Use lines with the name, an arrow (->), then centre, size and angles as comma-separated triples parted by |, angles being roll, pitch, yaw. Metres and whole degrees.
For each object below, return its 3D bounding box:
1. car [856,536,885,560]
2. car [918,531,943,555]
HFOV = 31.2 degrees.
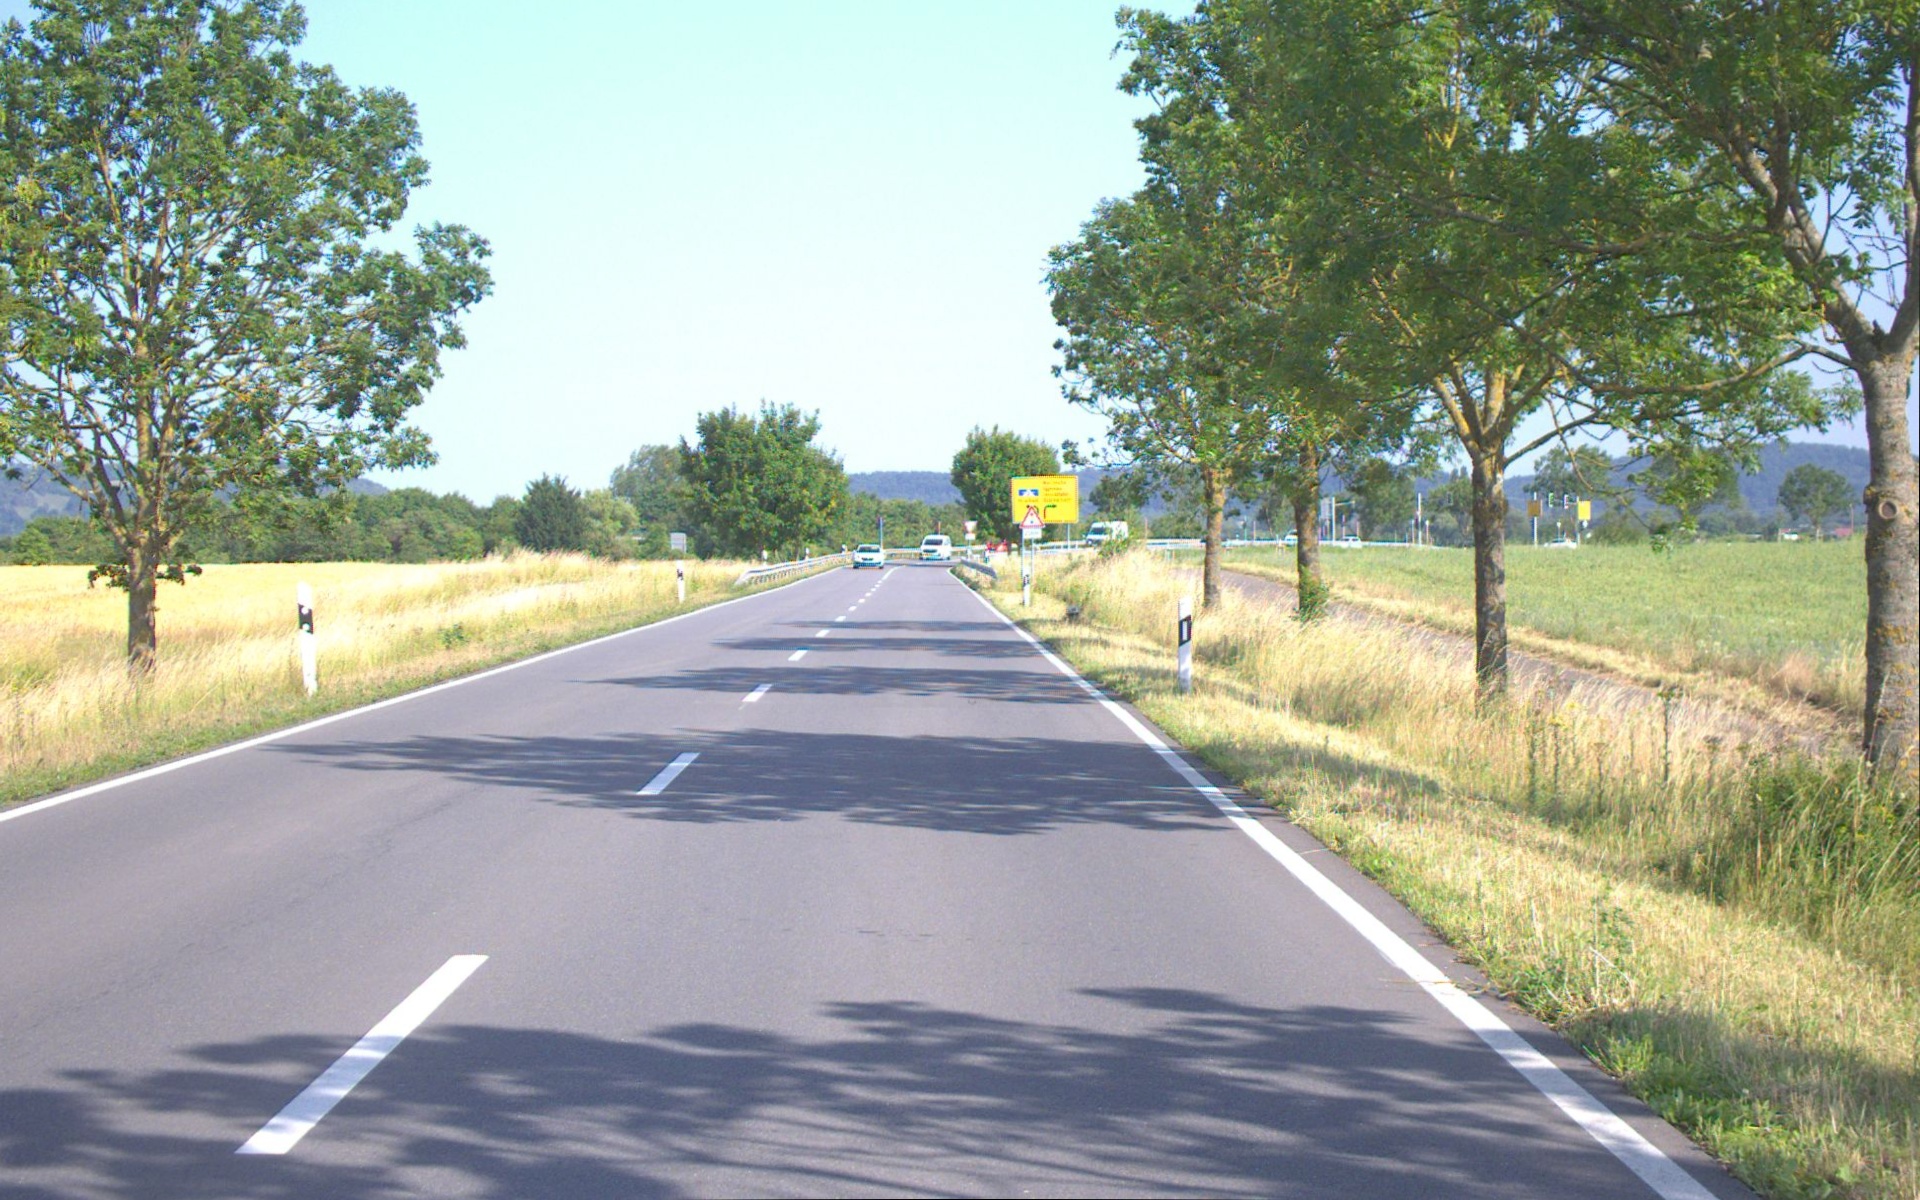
car -> -5.388, -3.119, 207.114 | 1.726, 1.432, 4.516 | 0, 1, -1
car -> -2.212, -4.238, 255.201 | 1.836, 1.780, 4.434 | 0, 1, 0
